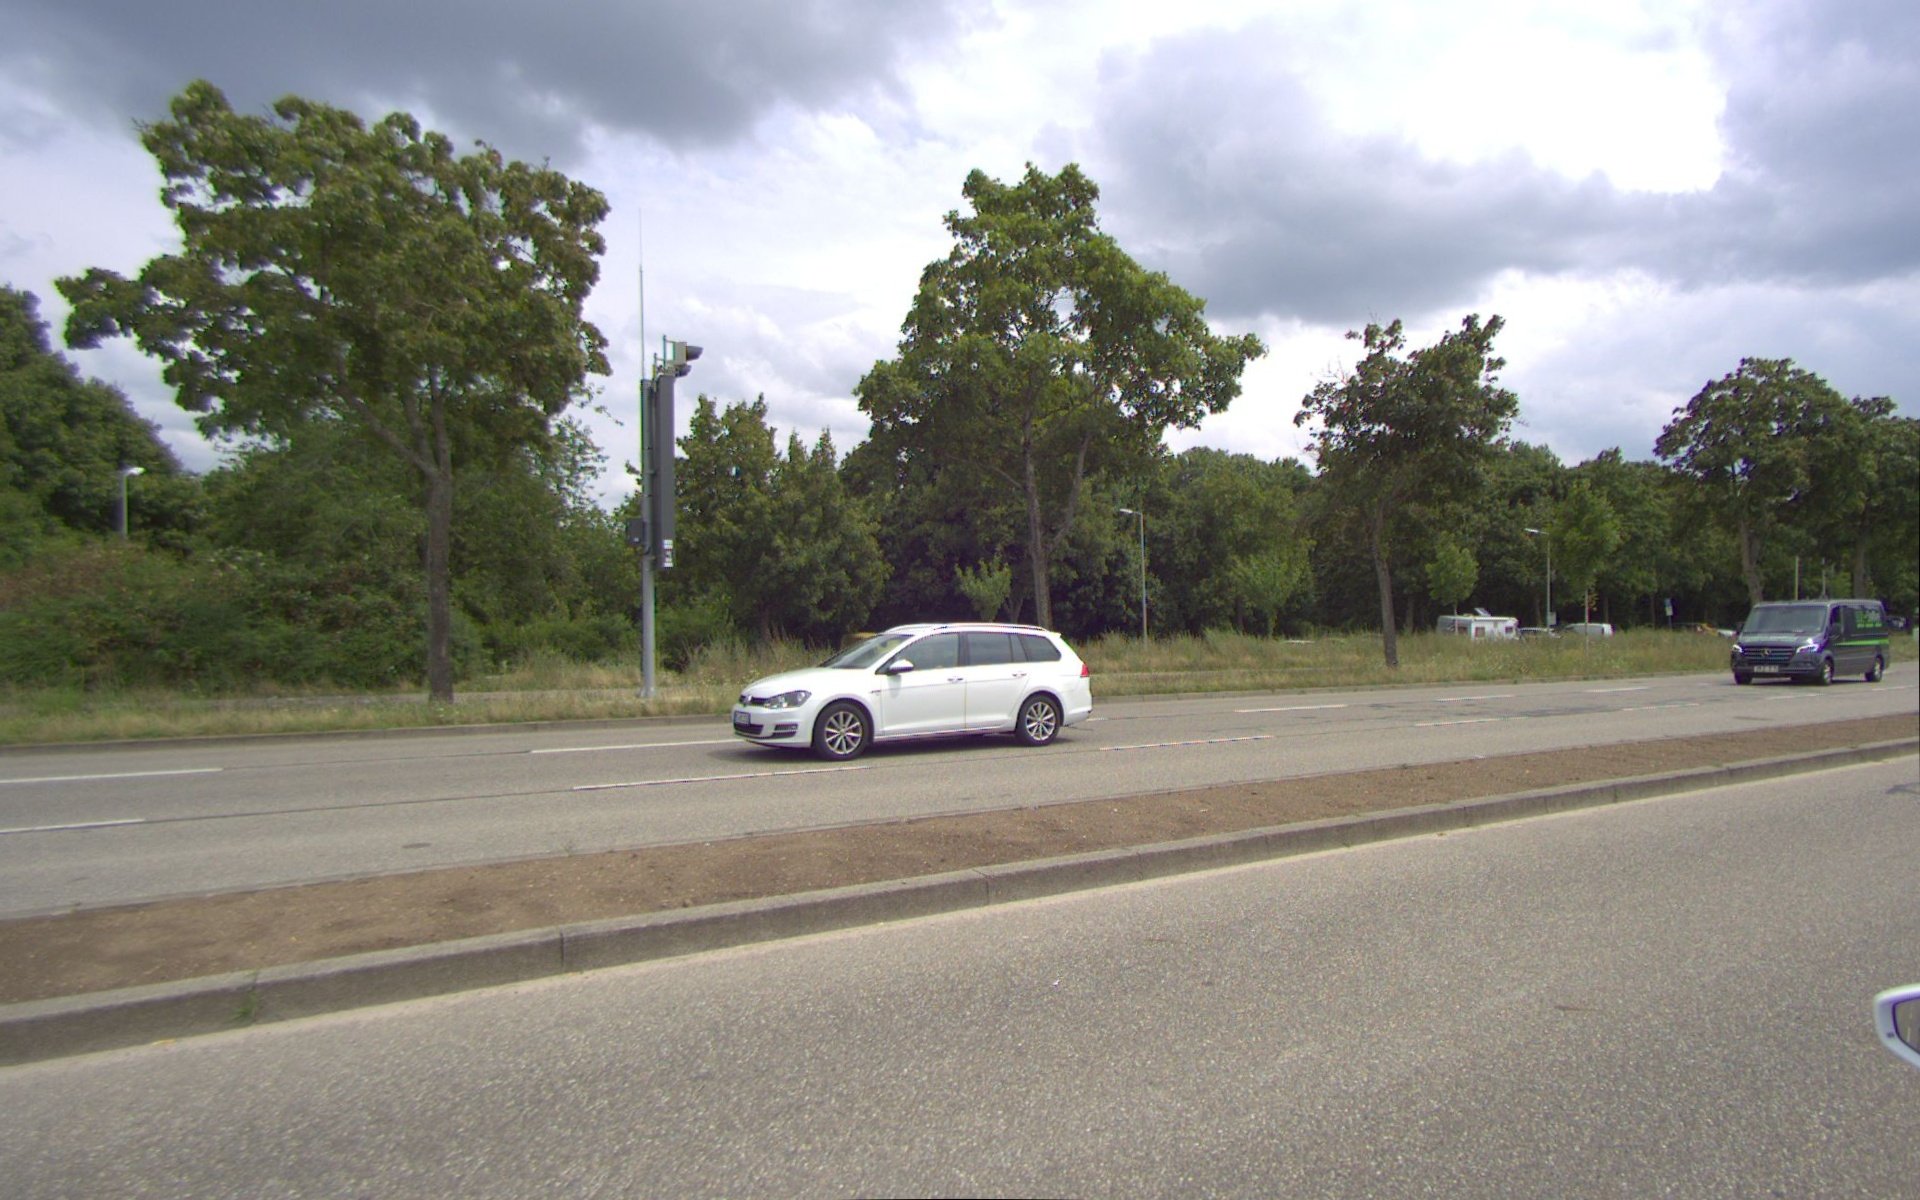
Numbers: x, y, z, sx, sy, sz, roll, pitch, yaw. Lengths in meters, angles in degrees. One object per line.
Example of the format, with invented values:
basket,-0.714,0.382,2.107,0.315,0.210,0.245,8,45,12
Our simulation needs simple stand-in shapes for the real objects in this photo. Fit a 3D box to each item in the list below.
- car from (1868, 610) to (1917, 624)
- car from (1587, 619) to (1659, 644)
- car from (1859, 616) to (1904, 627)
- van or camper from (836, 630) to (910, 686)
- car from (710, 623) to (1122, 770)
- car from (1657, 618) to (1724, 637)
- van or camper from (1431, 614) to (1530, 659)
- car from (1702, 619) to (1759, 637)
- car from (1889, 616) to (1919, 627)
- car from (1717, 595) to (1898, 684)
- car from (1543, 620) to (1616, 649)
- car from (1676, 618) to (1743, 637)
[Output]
car,105.896,1.915,114.094,1.943,1.445,3.755,0,0,-30
car,48.484,2.259,73.528,2.023,1.736,3.965,0,0,-32
car,98.636,2.291,107.517,1.425,1.108,3.350,0,0,-31
van or camper,-3.749,2.412,42.528,1.971,2.040,4.345,1,1,-21
car,-0.474,1.034,12.208,4.632,1.449,1.984,0,-2,-30
car,59.494,2.213,81.854,1.976,1.468,3.969,0,0,-30
van or camper,32.303,2.176,62.266,6.645,2.575,2.458,0,0,-32
car,66.182,2.408,86.288,1.499,1.430,3.632,0,0,-30
car,109.225,2.462,115.390,1.425,1.248,3.350,0,0,-31
car,23.294,1.041,27.543,5.937,2.230,2.084,0,-2,-32
car,43.401,2.421,70.461,1.917,1.912,3.965,0,0,-32
car,62.348,2.252,83.611,1.863,1.518,4.160,0,0,-30
